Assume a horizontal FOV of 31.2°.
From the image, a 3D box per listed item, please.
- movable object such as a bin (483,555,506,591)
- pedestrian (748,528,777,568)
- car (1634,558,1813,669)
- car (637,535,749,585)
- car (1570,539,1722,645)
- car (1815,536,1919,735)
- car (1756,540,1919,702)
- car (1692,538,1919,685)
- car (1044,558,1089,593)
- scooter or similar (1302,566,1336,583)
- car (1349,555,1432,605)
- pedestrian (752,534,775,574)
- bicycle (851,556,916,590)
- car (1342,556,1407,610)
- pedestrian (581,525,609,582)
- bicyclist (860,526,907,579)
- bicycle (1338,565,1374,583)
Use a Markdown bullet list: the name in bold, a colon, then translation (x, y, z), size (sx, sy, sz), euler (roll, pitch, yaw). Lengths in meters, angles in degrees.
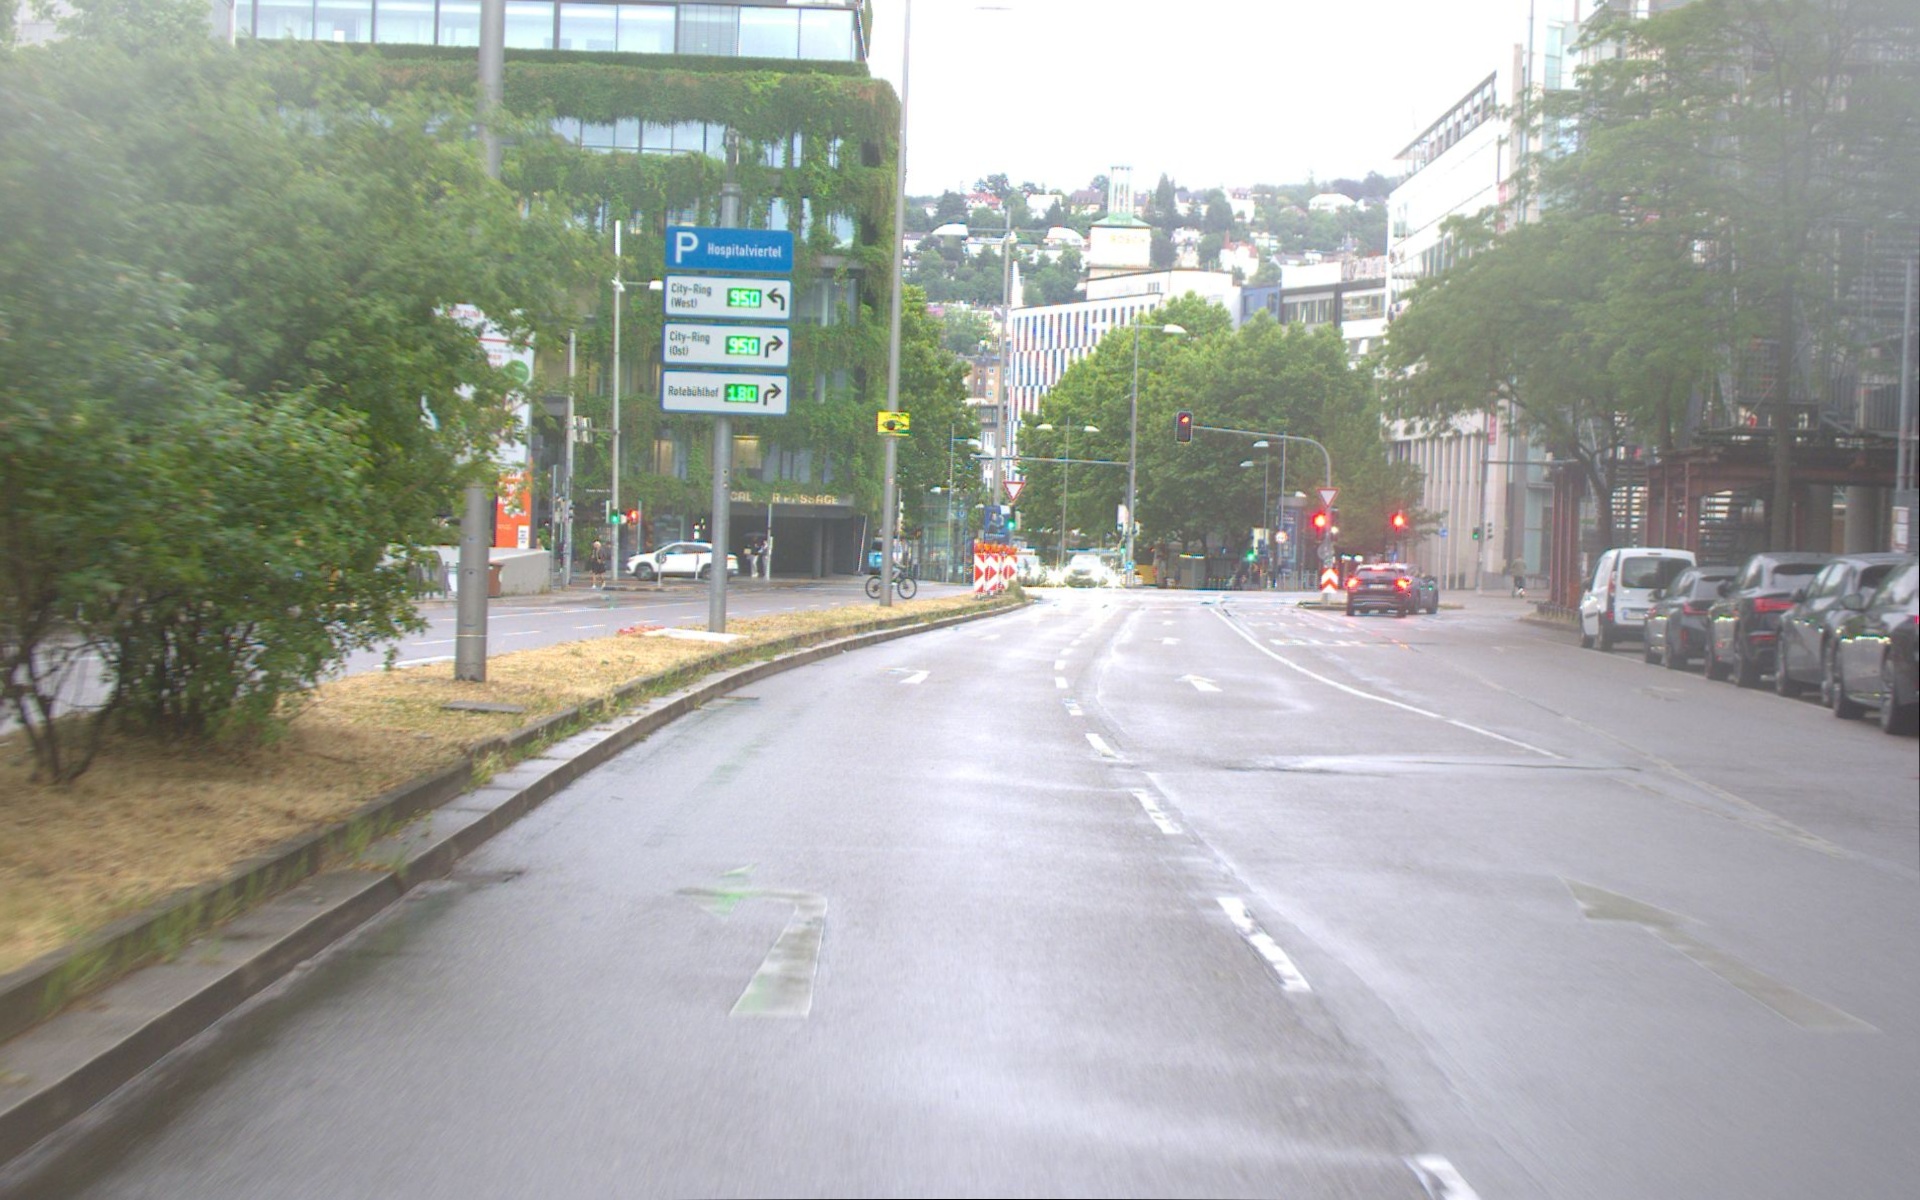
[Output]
- **movable object such as a bin**: translation (-11.670, -0.670, 86.199), size (0.531, 0.894, 0.682), euler (0, 1, -6)
- **pedestrian**: translation (-8.683, -2.298, 151.194), size (0.935, 1.752, 1.172), euler (1, 1, -20)
- **car**: translation (10.748, 0.154, 48.683), size (1.869, 1.432, 4.920), euler (1, 1, 6)
- **car**: translation (-10.657, -1.589, 137.308), size (3.990, 1.878, 1.999), euler (2, 1, 15)
- **car**: translation (11.994, -0.165, 60.372), size (1.994, 1.744, 4.526), euler (1, 1, 4)
- **car**: translation (8.867, 0.270, 30.126), size (1.994, 1.595, 5.288), euler (1, 1, 7)
- **car**: translation (9.815, 0.187, 36.548), size (1.861, 1.595, 4.592), euler (1, 1, 4)
- **car**: translation (10.223, 0.095, 41.907), size (1.994, 1.640, 4.861), euler (1, 1, 6)
- **car**: translation (4.990, -1.143, 160.732), size (1.994, 1.545, 4.555), euler (1, 1, 3)
- **scooter or similar**: translation (19.307, -1.358, 184.667), size (1.745, 0.875, 0.489), euler (1, 0, -15)
- **car**: translation (13.680, -0.633, 109.141), size (1.705, 1.524, 4.422), euler (2, 1, 19)
- **pedestrian**: translation (-8.621, -2.022, 150.895), size (0.741, 1.752, 0.976), euler (1, 1, -20)
- **bicycle**: translation (-2.519, -0.886, 113.311), size (0.848, 1.099, 2.147), euler (2, 1, 45)
- **car**: translation (12.279, -0.515, 101.982), size (1.779, 1.534, 4.146), euler (2, 1, 6)
- **pedestrian**: translation (-12.429, -1.583, 117.095), size (0.805, 1.879, 0.866), euler (-3, 1, -3)
- **bicyclist**: translation (-2.522, -1.568, 113.302), size (0.848, 1.698, 1.295), euler (2, 1, 45)
- **bicycle**: translation (20.431, -1.343, 177.351), size (1.795, 0.931, 0.475), euler (1, 1, 7)
